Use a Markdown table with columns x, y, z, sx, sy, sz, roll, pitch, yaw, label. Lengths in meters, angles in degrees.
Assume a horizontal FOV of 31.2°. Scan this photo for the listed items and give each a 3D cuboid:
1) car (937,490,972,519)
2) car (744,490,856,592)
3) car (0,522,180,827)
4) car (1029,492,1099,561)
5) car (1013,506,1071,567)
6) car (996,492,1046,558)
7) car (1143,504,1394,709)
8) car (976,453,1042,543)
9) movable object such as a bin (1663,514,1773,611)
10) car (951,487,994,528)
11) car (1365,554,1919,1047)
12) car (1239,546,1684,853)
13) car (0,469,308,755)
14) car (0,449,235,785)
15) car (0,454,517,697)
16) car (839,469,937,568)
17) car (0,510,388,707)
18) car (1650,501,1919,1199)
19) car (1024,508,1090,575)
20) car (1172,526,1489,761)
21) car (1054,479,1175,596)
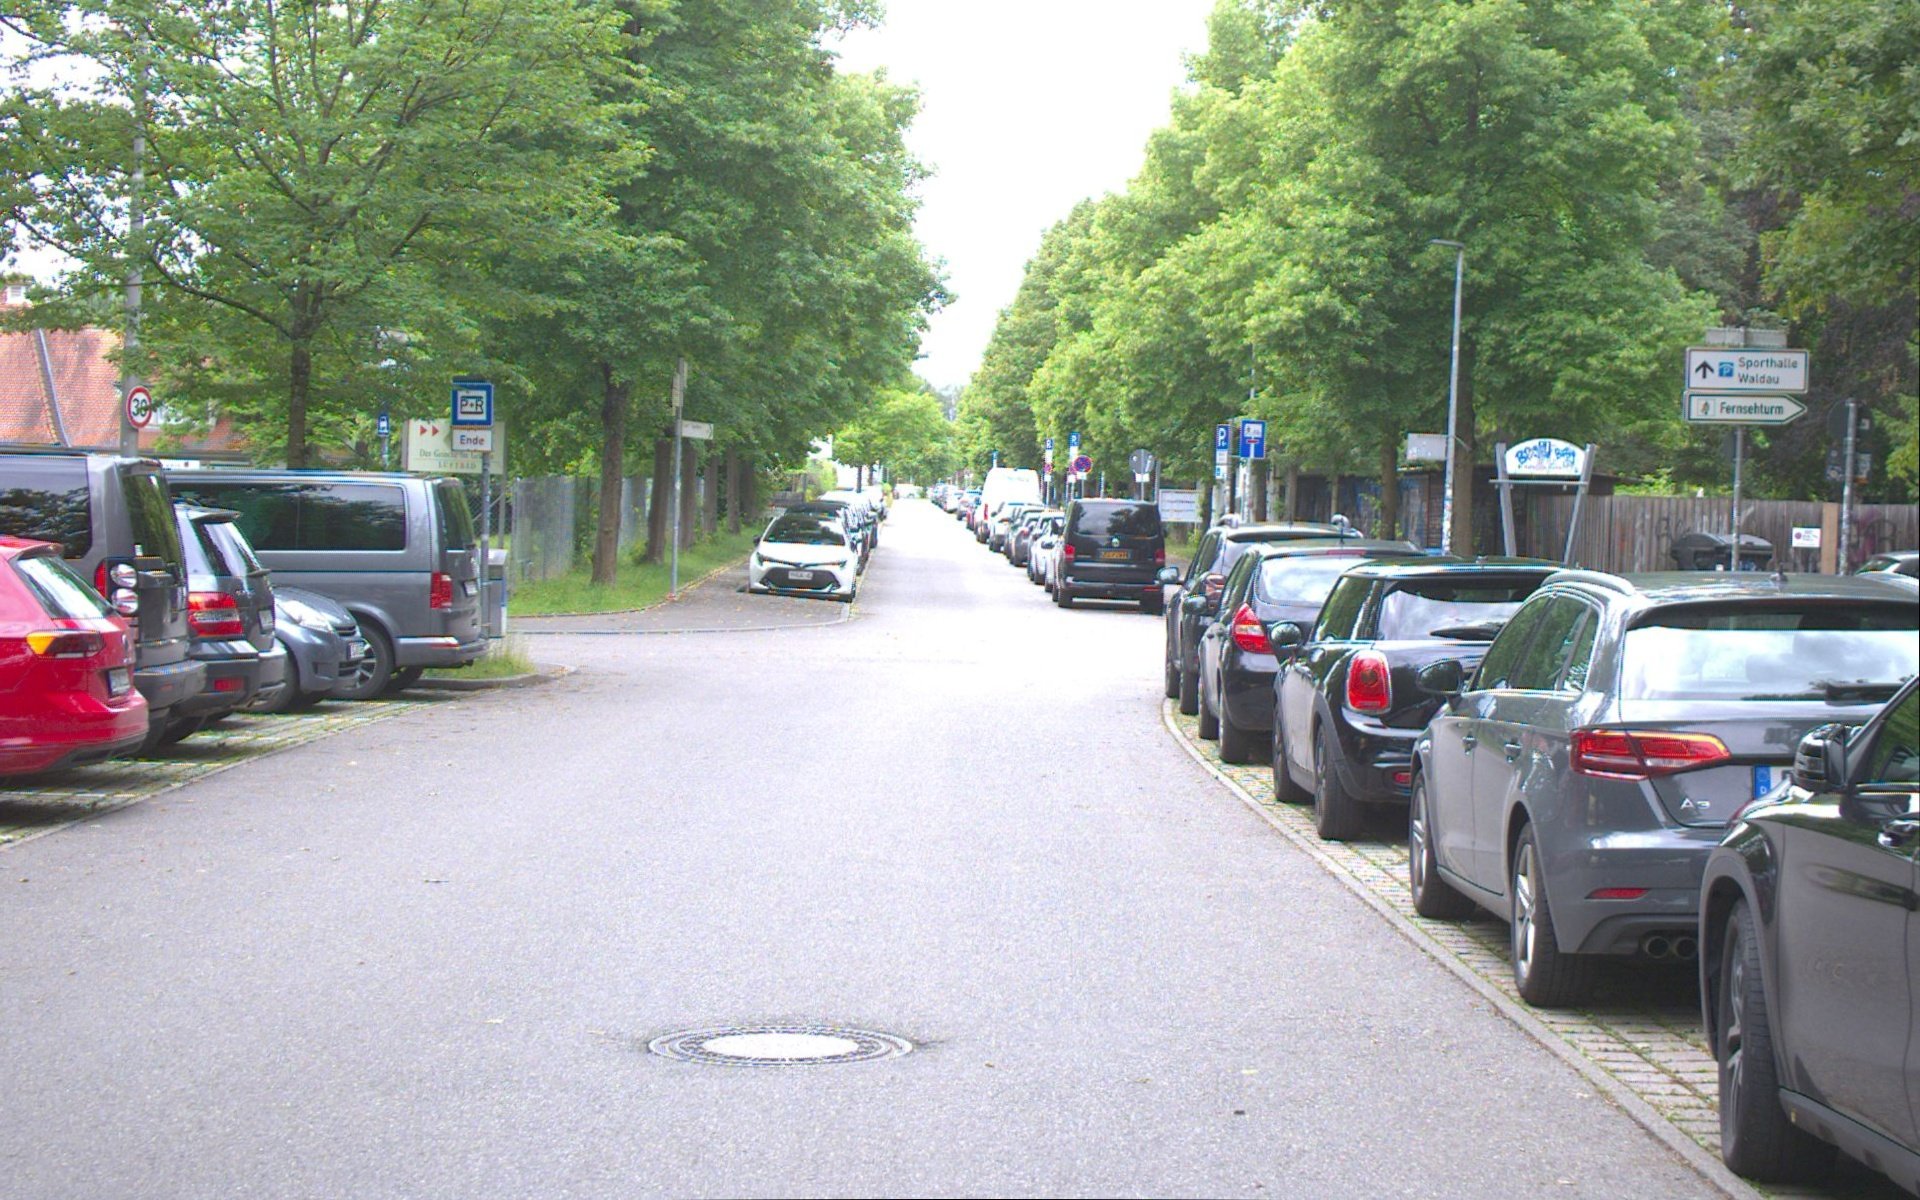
| x | y | z | sx | sy | sz | roll | pitch | yaw | label |
| --- | --- | --- | --- | --- | --- | --- | --- | --- | --- |
| -0.317 | -5.904 | 213.078 | 1.898 | 1.700 | 4.063 | 1 | 0 | 3 | car |
| -2.783 | -1.045 | 59.365 | 1.765 | 1.590 | 4.217 | 4 | 1 | -3 | car |
| -6.225 | 0.302 | 17.771 | 3.986 | 1.471 | 1.780 | 2 | 1 | -2 | car |
| 2.273 | -1.625 | 75.732 | 1.469 | 1.476 | 3.189 | 1 | 1 | 1 | car |
| 2.130 | -1.669 | 89.954 | 1.469 | 1.526 | 3.189 | 1 | 1 | 1 | car |
| 1.874 | -2.314 | 105.866 | 1.469 | 1.961 | 3.189 | 1 | 1 | 1 | car |
| 2.609 | 0.010 | 29.956 | 1.736 | 1.628 | 4.376 | 1 | 1 | 0 | car |
| 1.708 | -3.537 | 119.404 | 2.184 | 3.005 | 4.897 | 1 | 1 | 1 | car |
| 11.517 | -0.564 | 52.215 | 1.282 | 1.437 | 1.078 | 1 | 0 | -44 | movable object such as a bin |
| 0.673 | -4.835 | 179.536 | 1.994 | 2.007 | 4.000 | 1 | 0 | 3 | car |
| 2.637 | 0.579 | 12.538 | 1.736 | 1.427 | 4.502 | 1 | 1 | 0 | car |
| 2.602 | 0.447 | 18.842 | 1.736 | 1.427 | 4.502 | 1 | 1 | 0 | car |
| -6.453 | 0.017 | 22.604 | 3.986 | 1.759 | 1.824 | 2 | 1 | -2 | car |
| -6.453 | 0.028 | 20.167 | 3.987 | 1.856 | 1.813 | 2 | 1 | -1 | car |
| -6.246 | -0.219 | 30.066 | 4.502 | 1.971 | 1.891 | 1 | 0 | -2 | car |
| -1.517 | -1.752 | 73.617 | 1.993 | 2.007 | 4.000 | 2 | 1 | -1 | car |
| -6.716 | 0.036 | 27.850 | 3.815 | 1.507 | 1.809 | 1 | 2 | 2 | car |
| 2.650 | 0.618 | 6.781 | 1.736 | 1.583 | 4.382 | 1 | 1 | 1 | car |
| 2.272 | -1.394 | 80.792 | 1.469 | 1.526 | 3.189 | 1 | 1 | 1 | car |
| 2.531 | 0.241 | 24.381 | 1.736 | 1.489 | 4.234 | 1 | 1 | 0 | car |
| 2.741 | -1.138 | 61.837 | 1.988 | 2.007 | 4.108 | 1 | 1 | 1 | car |
